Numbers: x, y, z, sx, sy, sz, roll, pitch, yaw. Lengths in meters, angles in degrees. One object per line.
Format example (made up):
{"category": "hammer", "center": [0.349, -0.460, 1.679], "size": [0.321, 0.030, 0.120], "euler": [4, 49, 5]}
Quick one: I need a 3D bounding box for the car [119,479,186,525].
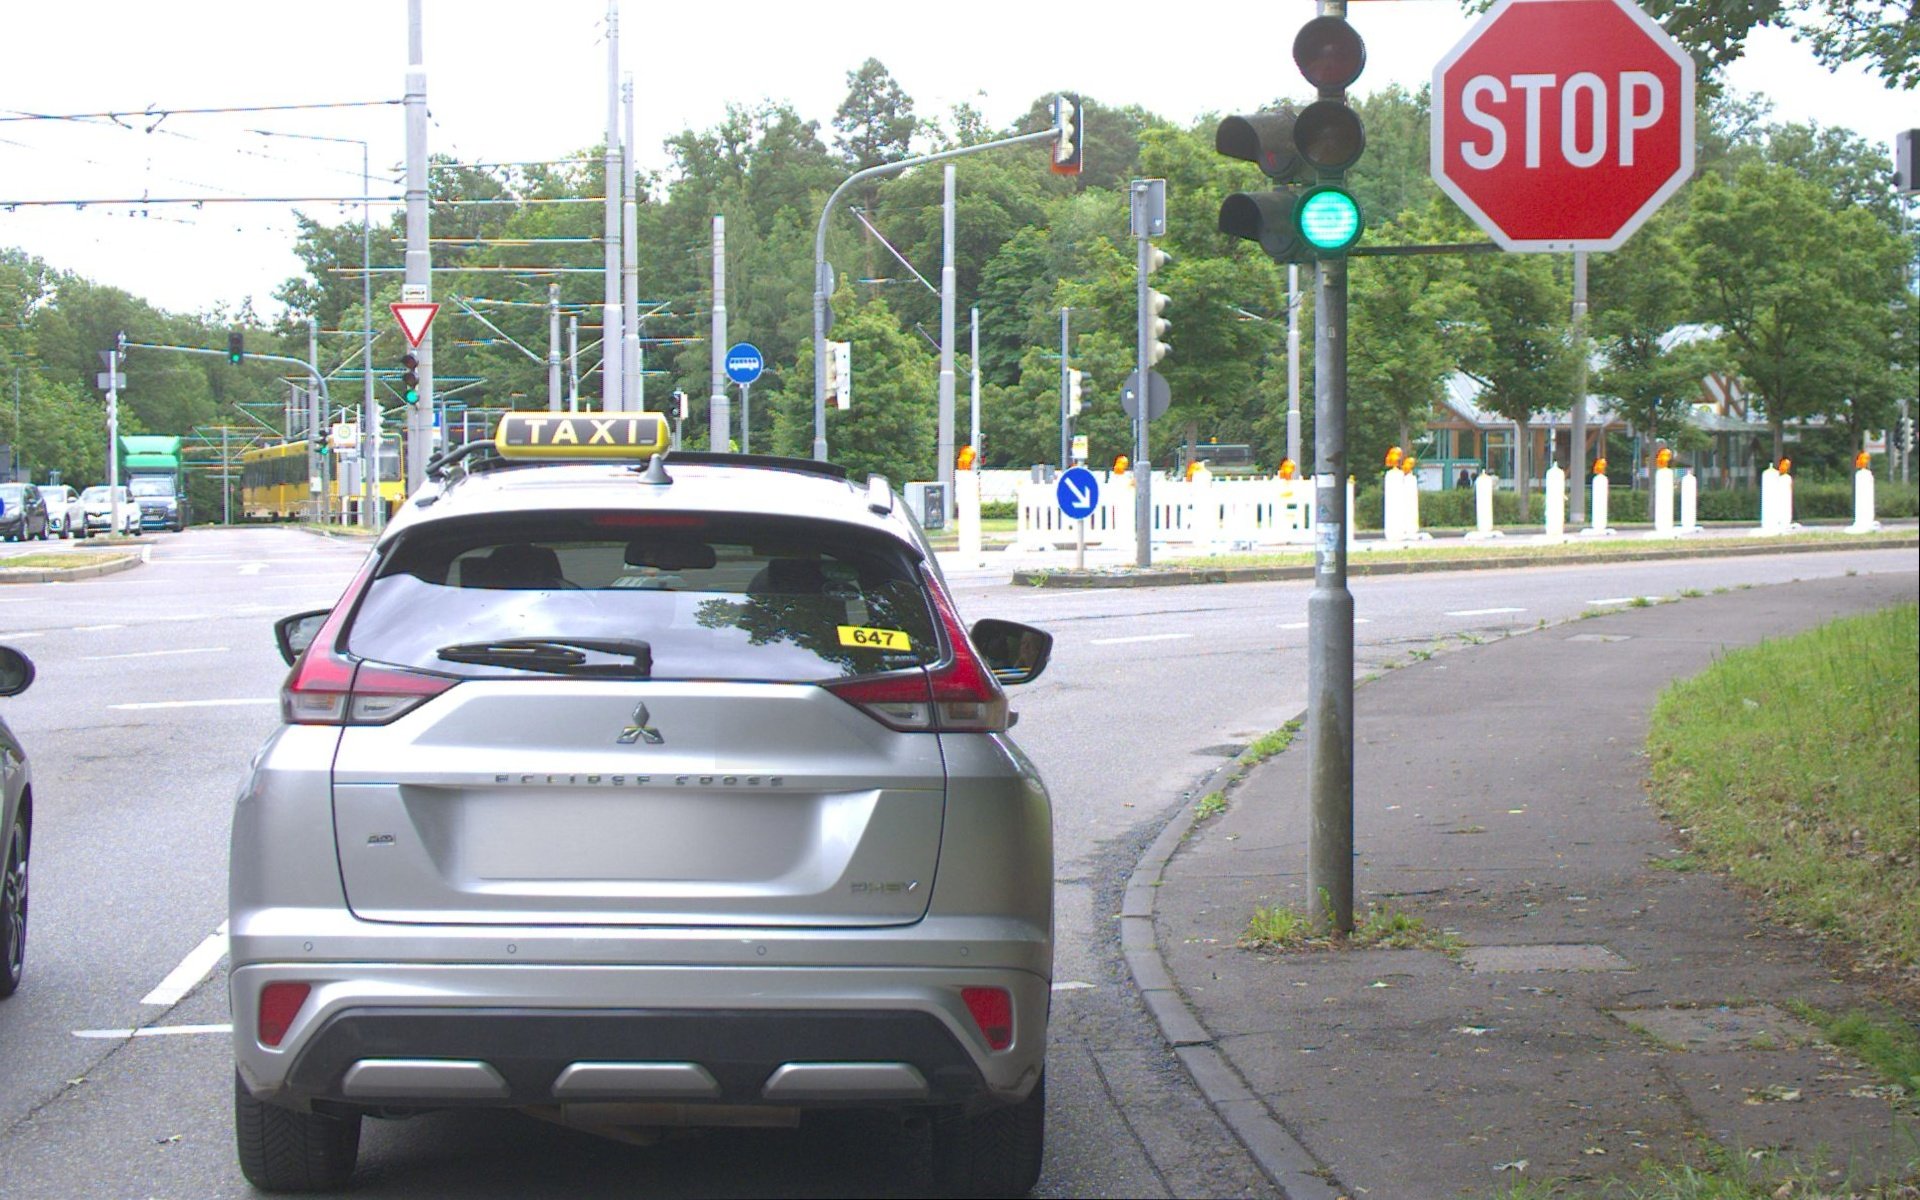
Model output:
{"category": "car", "center": [-27.822, -3.403, 118.538], "size": [1.961, 1.535, 4.312], "euler": [-1, 2, -9]}

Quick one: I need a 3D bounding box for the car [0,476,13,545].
{"category": "car", "center": [-26.619, -2.401, 92.027], "size": [1.961, 1.838, 4.691], "euler": [-1, 2, -9]}

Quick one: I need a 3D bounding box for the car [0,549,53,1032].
{"category": "car", "center": [-3.542, 0.590, 9.020], "size": [1.773, 1.357, 3.477], "euler": [-1, 2, -7]}

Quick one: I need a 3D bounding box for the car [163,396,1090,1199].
{"category": "car", "center": [-0.739, 0.436, 8.614], "size": [1.773, 1.742, 3.781], "euler": [1, 2, -3]}

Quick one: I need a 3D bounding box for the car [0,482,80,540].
{"category": "car", "center": [-26.634, -2.591, 99.291], "size": [1.961, 1.601, 4.312], "euler": [-1, 2, -9]}

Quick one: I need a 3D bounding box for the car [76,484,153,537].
{"category": "car", "center": [-25.825, -2.754, 105.108], "size": [1.961, 1.536, 4.397], "euler": [-1, 2, -9]}

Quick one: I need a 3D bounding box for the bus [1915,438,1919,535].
{"category": "bus", "center": [37.144, -4.225, 127.724], "size": [2.823, 3.590, 12.797], "euler": [1, 2, 14]}
